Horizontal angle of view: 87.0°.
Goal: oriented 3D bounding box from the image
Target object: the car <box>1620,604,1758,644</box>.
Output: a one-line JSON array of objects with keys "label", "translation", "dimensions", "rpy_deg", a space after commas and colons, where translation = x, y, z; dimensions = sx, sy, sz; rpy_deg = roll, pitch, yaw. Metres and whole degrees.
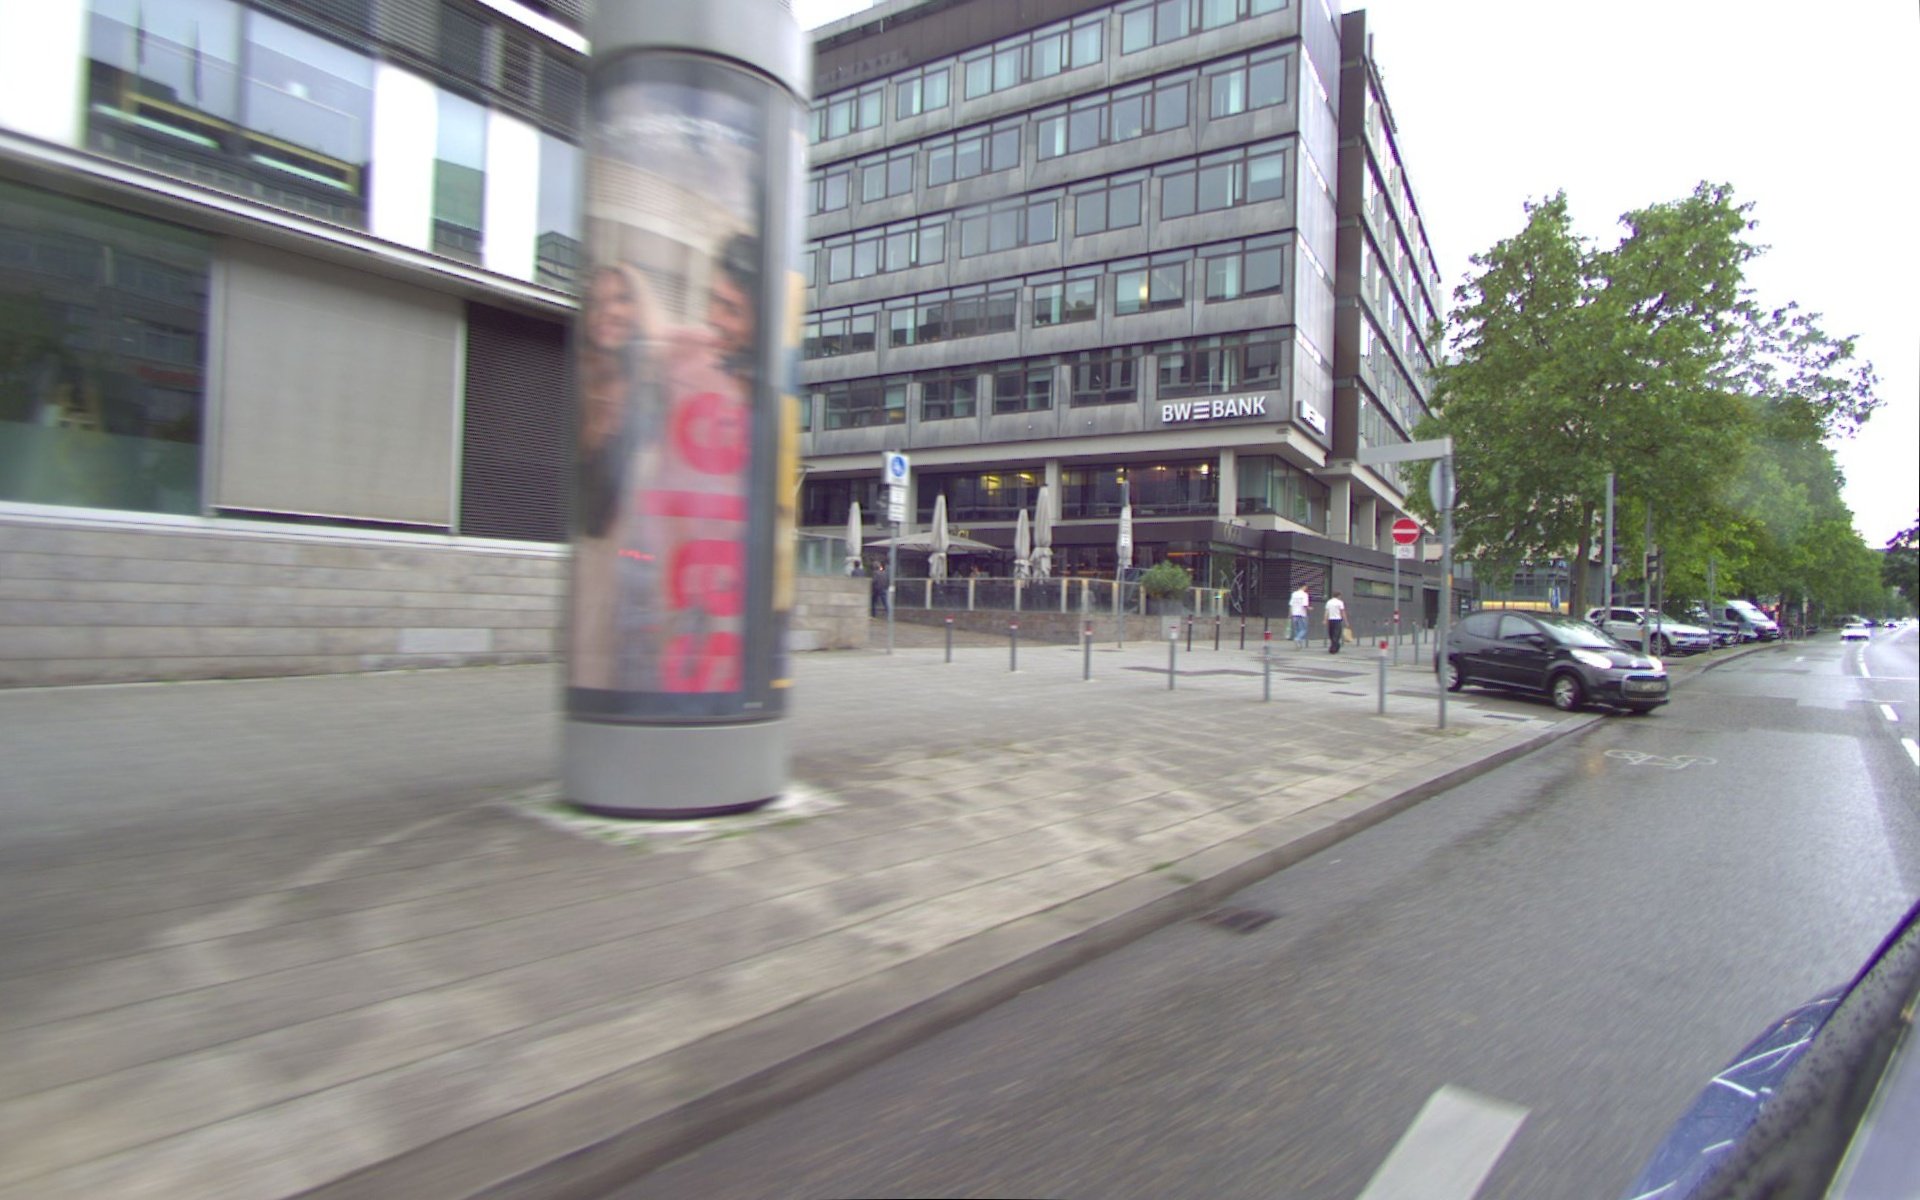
[{"label": "car", "translation": [30.280, 0.975, 42.213], "dimensions": [1.876, 1.557, 4.366], "rpy_deg": [1, -1, -21]}]

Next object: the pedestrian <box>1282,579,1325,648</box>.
[{"label": "pedestrian", "translation": [9.606, 0.369, 28.305], "dimensions": [0.882, 1.892, 0.802], "rpy_deg": [2, -1, -40]}]

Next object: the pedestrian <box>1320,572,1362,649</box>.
[{"label": "pedestrian", "translation": [10.431, 0.282, 27.693], "dimensions": [0.849, 2.065, 0.741], "rpy_deg": [0, -2, 43]}]

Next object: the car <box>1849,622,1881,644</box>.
[{"label": "car", "translation": [76.846, 2.792, 85.966], "dimensions": [1.783, 1.768, 4.509], "rpy_deg": [1, 0, 39]}]

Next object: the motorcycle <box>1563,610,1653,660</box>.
[{"label": "motorcycle", "translation": [18.747, 0.995, 29.310], "dimensions": [0.665, 1.375, 2.087], "rpy_deg": [2, -1, -40]}]

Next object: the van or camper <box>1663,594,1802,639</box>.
[{"label": "van or camper", "translation": [44.991, 0.964, 59.165], "dimensions": [2.266, 2.478, 6.278], "rpy_deg": [1, -1, -18]}]

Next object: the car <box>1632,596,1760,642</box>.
[{"label": "car", "translation": [33.772, 0.868, 46.590], "dimensions": [1.881, 2.018, 4.527], "rpy_deg": [1, -1, -19]}]

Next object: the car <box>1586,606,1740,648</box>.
[{"label": "car", "translation": [26.870, 1.005, 38.912], "dimensions": [1.876, 1.493, 4.732], "rpy_deg": [1, -1, -16]}]

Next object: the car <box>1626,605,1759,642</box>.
[{"label": "car", "translation": [31.996, 1.001, 44.361], "dimensions": [1.876, 1.557, 4.399], "rpy_deg": [1, -1, -21]}]

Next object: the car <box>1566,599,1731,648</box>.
[{"label": "car", "translation": [24.756, 0.815, 36.624], "dimensions": [1.876, 1.671, 4.814], "rpy_deg": [1, -1, -18]}]

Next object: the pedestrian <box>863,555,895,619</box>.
[{"label": "pedestrian", "translation": [-2.372, -0.381, 29.597], "dimensions": [0.648, 1.846, 0.671], "rpy_deg": [0, -2, 42]}]

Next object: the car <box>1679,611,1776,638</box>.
[{"label": "car", "translation": [42.666, 1.359, 56.384], "dimensions": [1.672, 1.442, 4.069], "rpy_deg": [1, -1, -19]}]

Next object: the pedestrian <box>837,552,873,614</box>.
[{"label": "pedestrian", "translation": [-3.012, -0.470, 29.048], "dimensions": [0.767, 1.747, 0.643], "rpy_deg": [2, -2, -43]}]

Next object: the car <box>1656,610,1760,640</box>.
[{"label": "car", "translation": [37.686, 1.252, 51.103], "dimensions": [1.672, 1.442, 4.021], "rpy_deg": [1, -1, -19]}]

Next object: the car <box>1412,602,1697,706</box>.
[{"label": "car", "translation": [9.316, 0.770, 16.226], "dimensions": [1.601, 1.435, 3.842], "rpy_deg": [1, 0, -18]}]
